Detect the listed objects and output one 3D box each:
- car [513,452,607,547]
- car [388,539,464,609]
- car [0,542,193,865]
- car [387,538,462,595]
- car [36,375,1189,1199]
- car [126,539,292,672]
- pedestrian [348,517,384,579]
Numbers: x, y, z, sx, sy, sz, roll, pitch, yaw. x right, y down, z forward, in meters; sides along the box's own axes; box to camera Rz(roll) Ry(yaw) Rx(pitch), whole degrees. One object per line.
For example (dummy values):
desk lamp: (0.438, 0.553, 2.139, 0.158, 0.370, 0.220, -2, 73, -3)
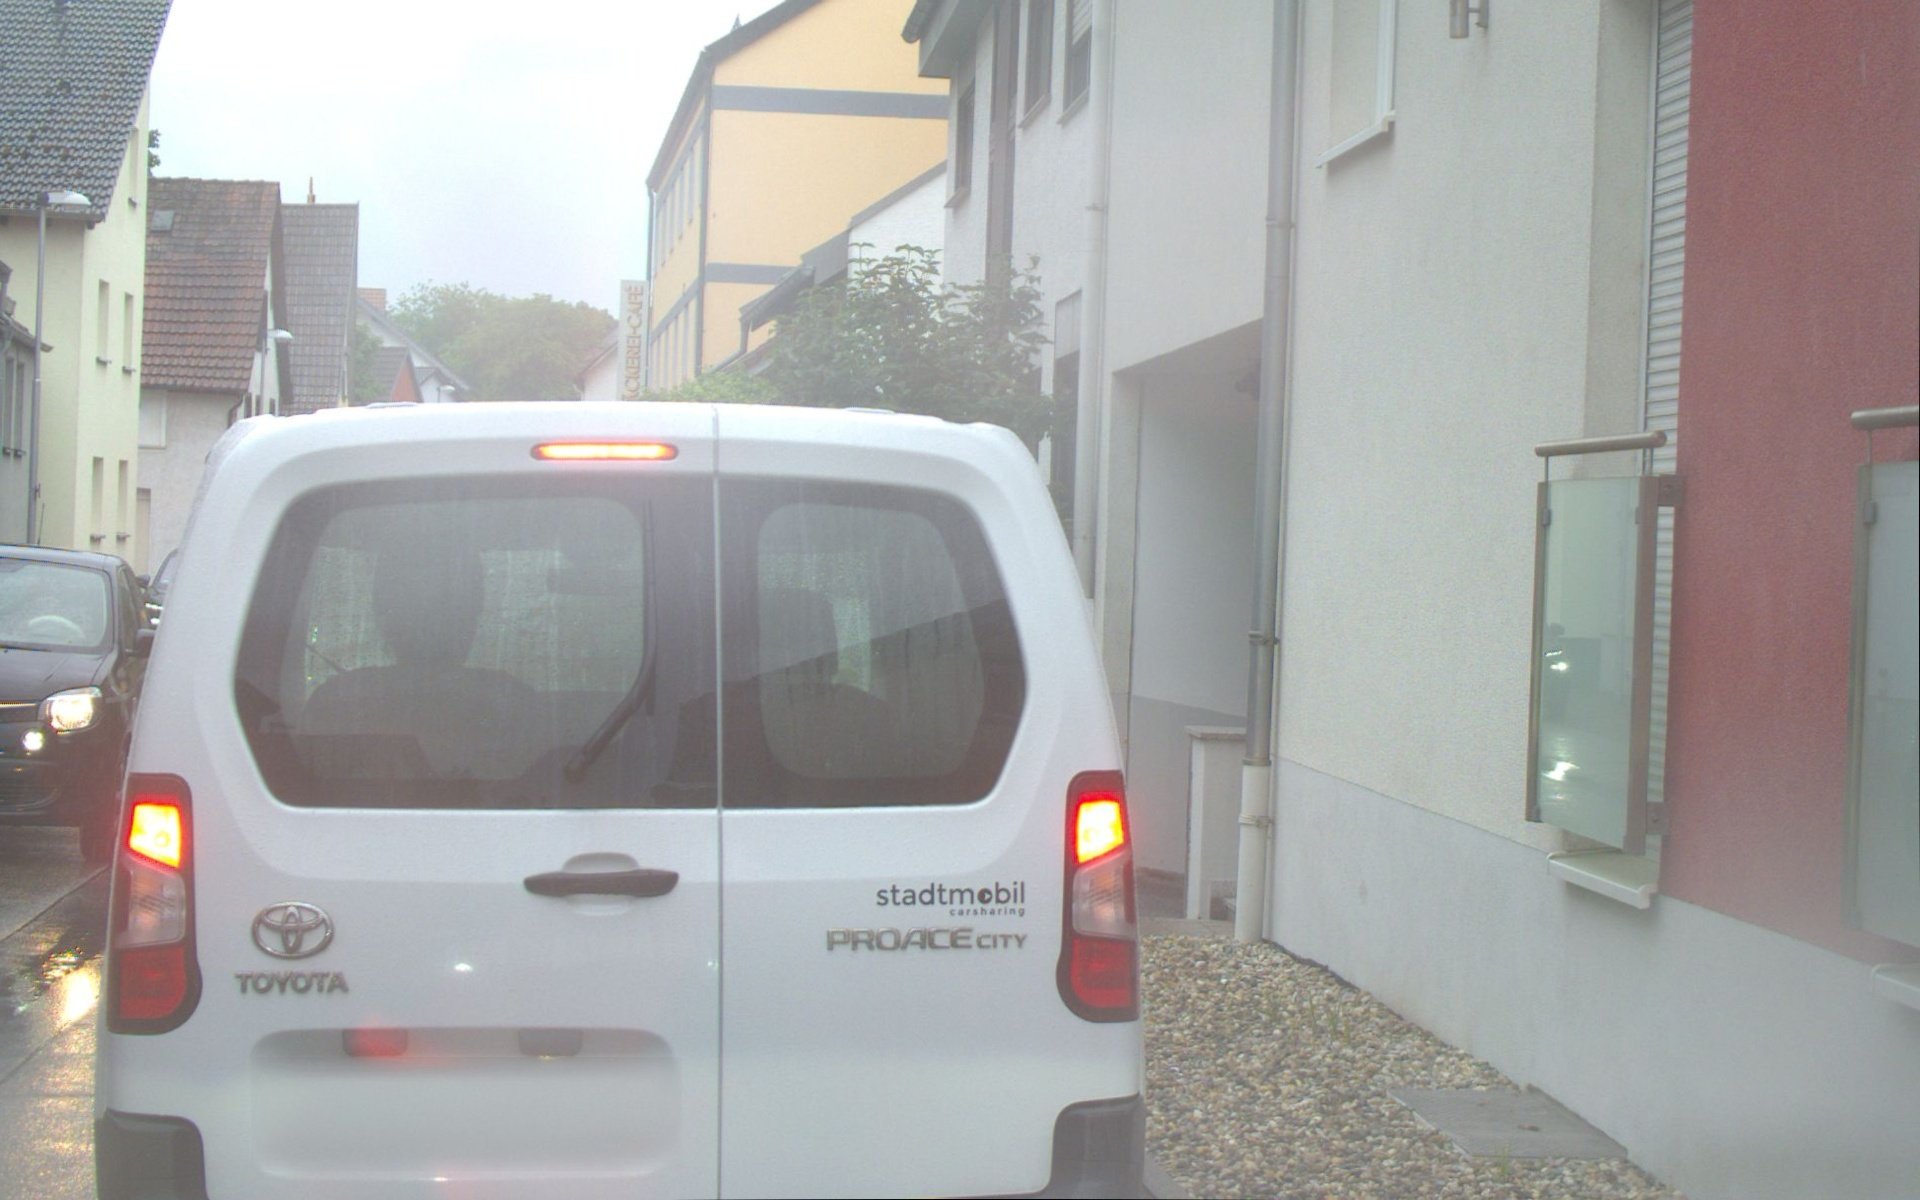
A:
car: (-8.850, -2.203, 76.314, 1.993, 2.007, 4.001, 1, 1, -6)
car: (-11.667, -0.573, 75.032, 1.560, 1.472, 4.001, 1, 1, -10)
car: (-5.046, 0.454, 18.105, 1.604, 1.508, 3.689, 2, 1, -8)
car: (-13.443, -0.842, 86.190, 1.779, 1.390, 4.001, 1, 1, -10)
car: (-0.834, 0.533, 7.340, 1.774, 1.774, 4.001, 1, 1, -9)
car: (-9.513, 0.037, 43.810, 1.832, 1.550, 4.241, 2, 0, -10)
pedestrian: (-18.308, -1.591, 105.982, 1.050, 1.886, 0.877, 1, 0, -9)
